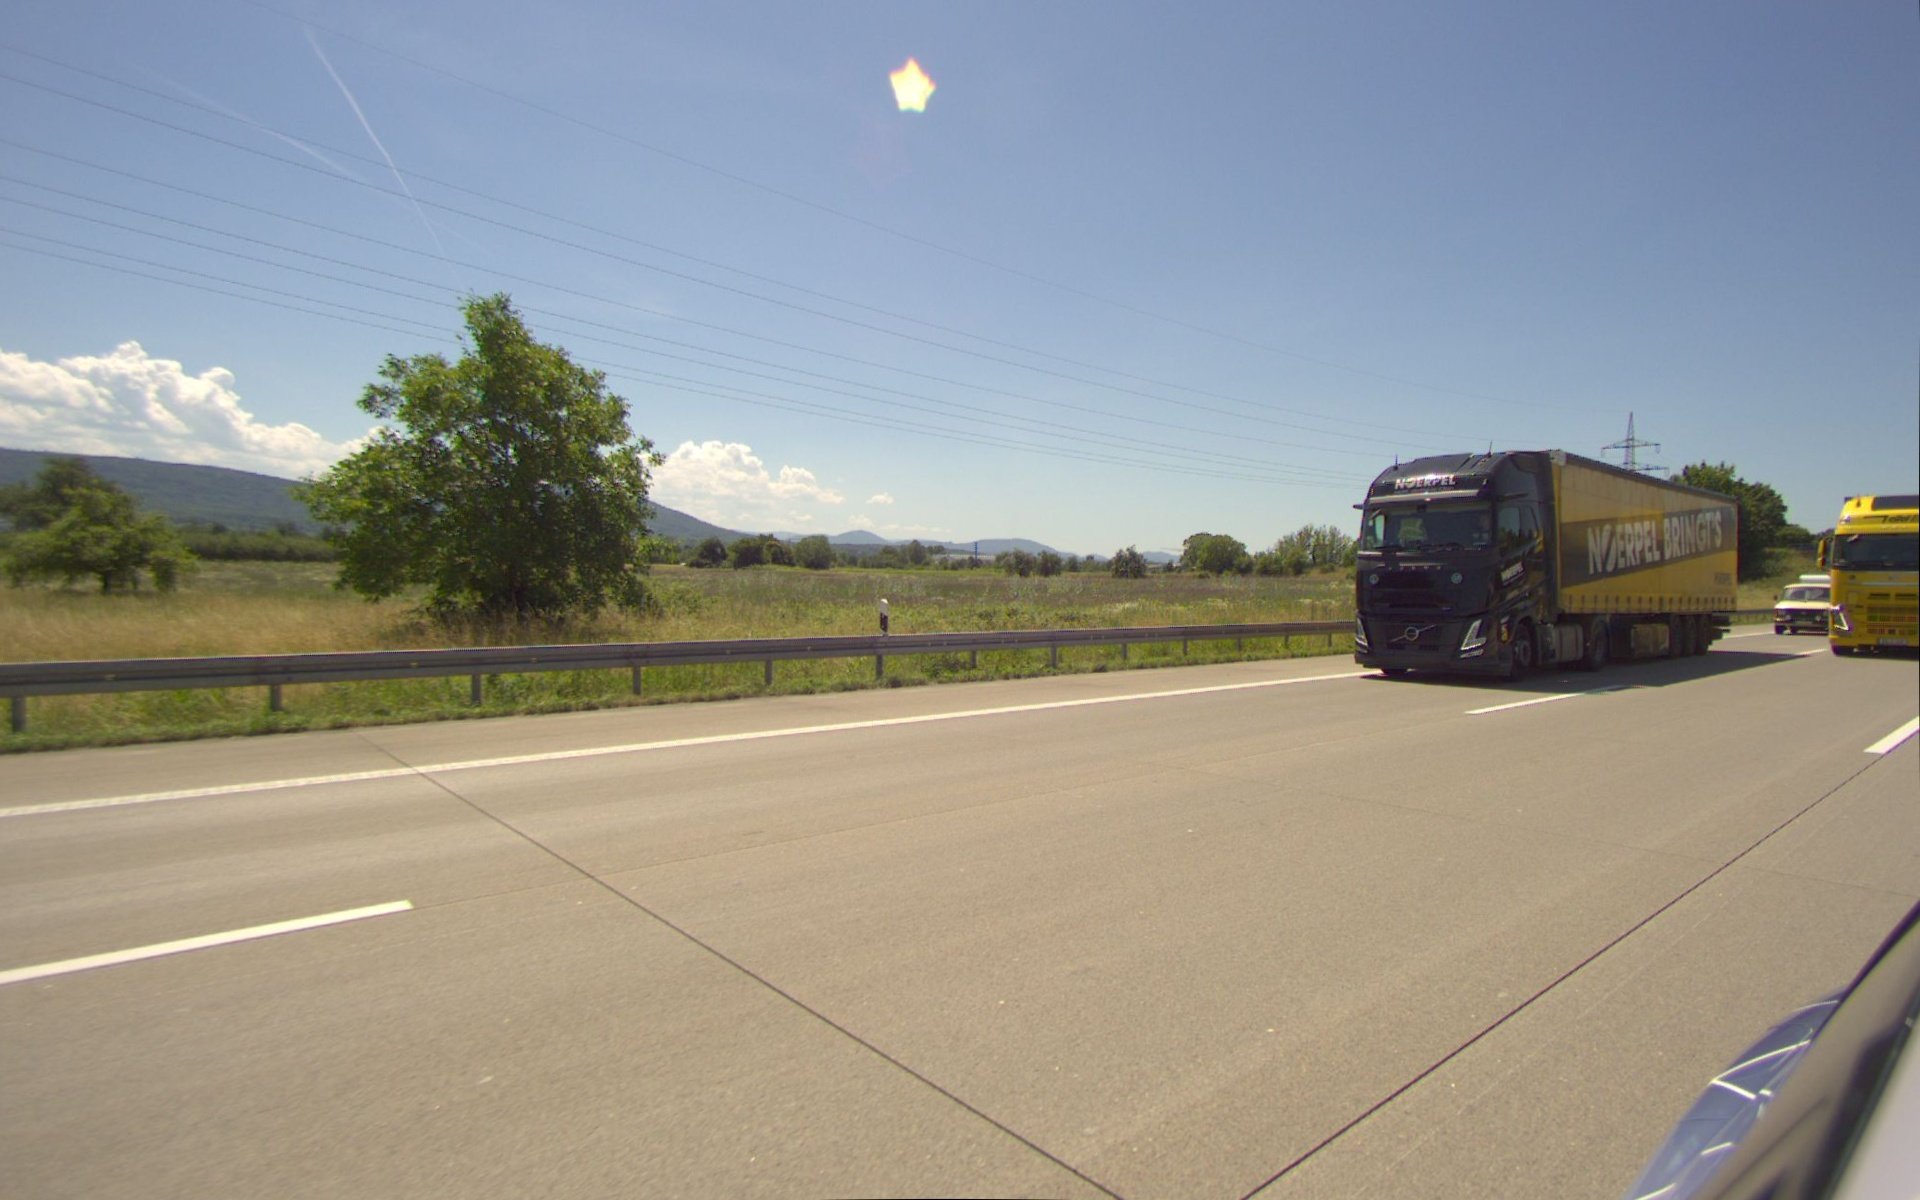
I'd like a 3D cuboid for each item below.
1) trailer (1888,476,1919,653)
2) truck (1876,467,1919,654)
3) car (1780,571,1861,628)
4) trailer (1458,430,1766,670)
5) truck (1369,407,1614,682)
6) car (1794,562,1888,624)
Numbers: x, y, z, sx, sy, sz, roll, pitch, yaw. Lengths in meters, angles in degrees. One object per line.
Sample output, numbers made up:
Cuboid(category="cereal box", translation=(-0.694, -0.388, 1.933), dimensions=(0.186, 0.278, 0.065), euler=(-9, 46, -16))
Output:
Cuboid(category="trailer", translation=(29.238, -0.931, 29.262), dimensions=(14.936, 4.308, 1.997), euler=(-1, 0, -41))
Cuboid(category="truck", translation=(24.198, -0.941, 24.823), dimensions=(5.104, 4.308, 1.997), euler=(0, 0, -41))
Cuboid(category="car", translation=(32.628, -0.038, 38.350), dimensions=(3.752, 2.039, 1.787), euler=(-1, 0, -41))
Cuboid(category="trailer", translation=(15.662, -0.953, 23.360), dimensions=(14.488, 4.246, 1.997), euler=(-1, 0, -41))
Cuboid(category="truck", translation=(9.677, -0.885, 18.183), dimensions=(5.606, 4.246, 1.997), euler=(0, 0, -41))
Cuboid(category="car", translation=(36.081, -0.306, 41.384), dimensions=(5.419, 2.377, 2.138), euler=(-1, 0, -41))
